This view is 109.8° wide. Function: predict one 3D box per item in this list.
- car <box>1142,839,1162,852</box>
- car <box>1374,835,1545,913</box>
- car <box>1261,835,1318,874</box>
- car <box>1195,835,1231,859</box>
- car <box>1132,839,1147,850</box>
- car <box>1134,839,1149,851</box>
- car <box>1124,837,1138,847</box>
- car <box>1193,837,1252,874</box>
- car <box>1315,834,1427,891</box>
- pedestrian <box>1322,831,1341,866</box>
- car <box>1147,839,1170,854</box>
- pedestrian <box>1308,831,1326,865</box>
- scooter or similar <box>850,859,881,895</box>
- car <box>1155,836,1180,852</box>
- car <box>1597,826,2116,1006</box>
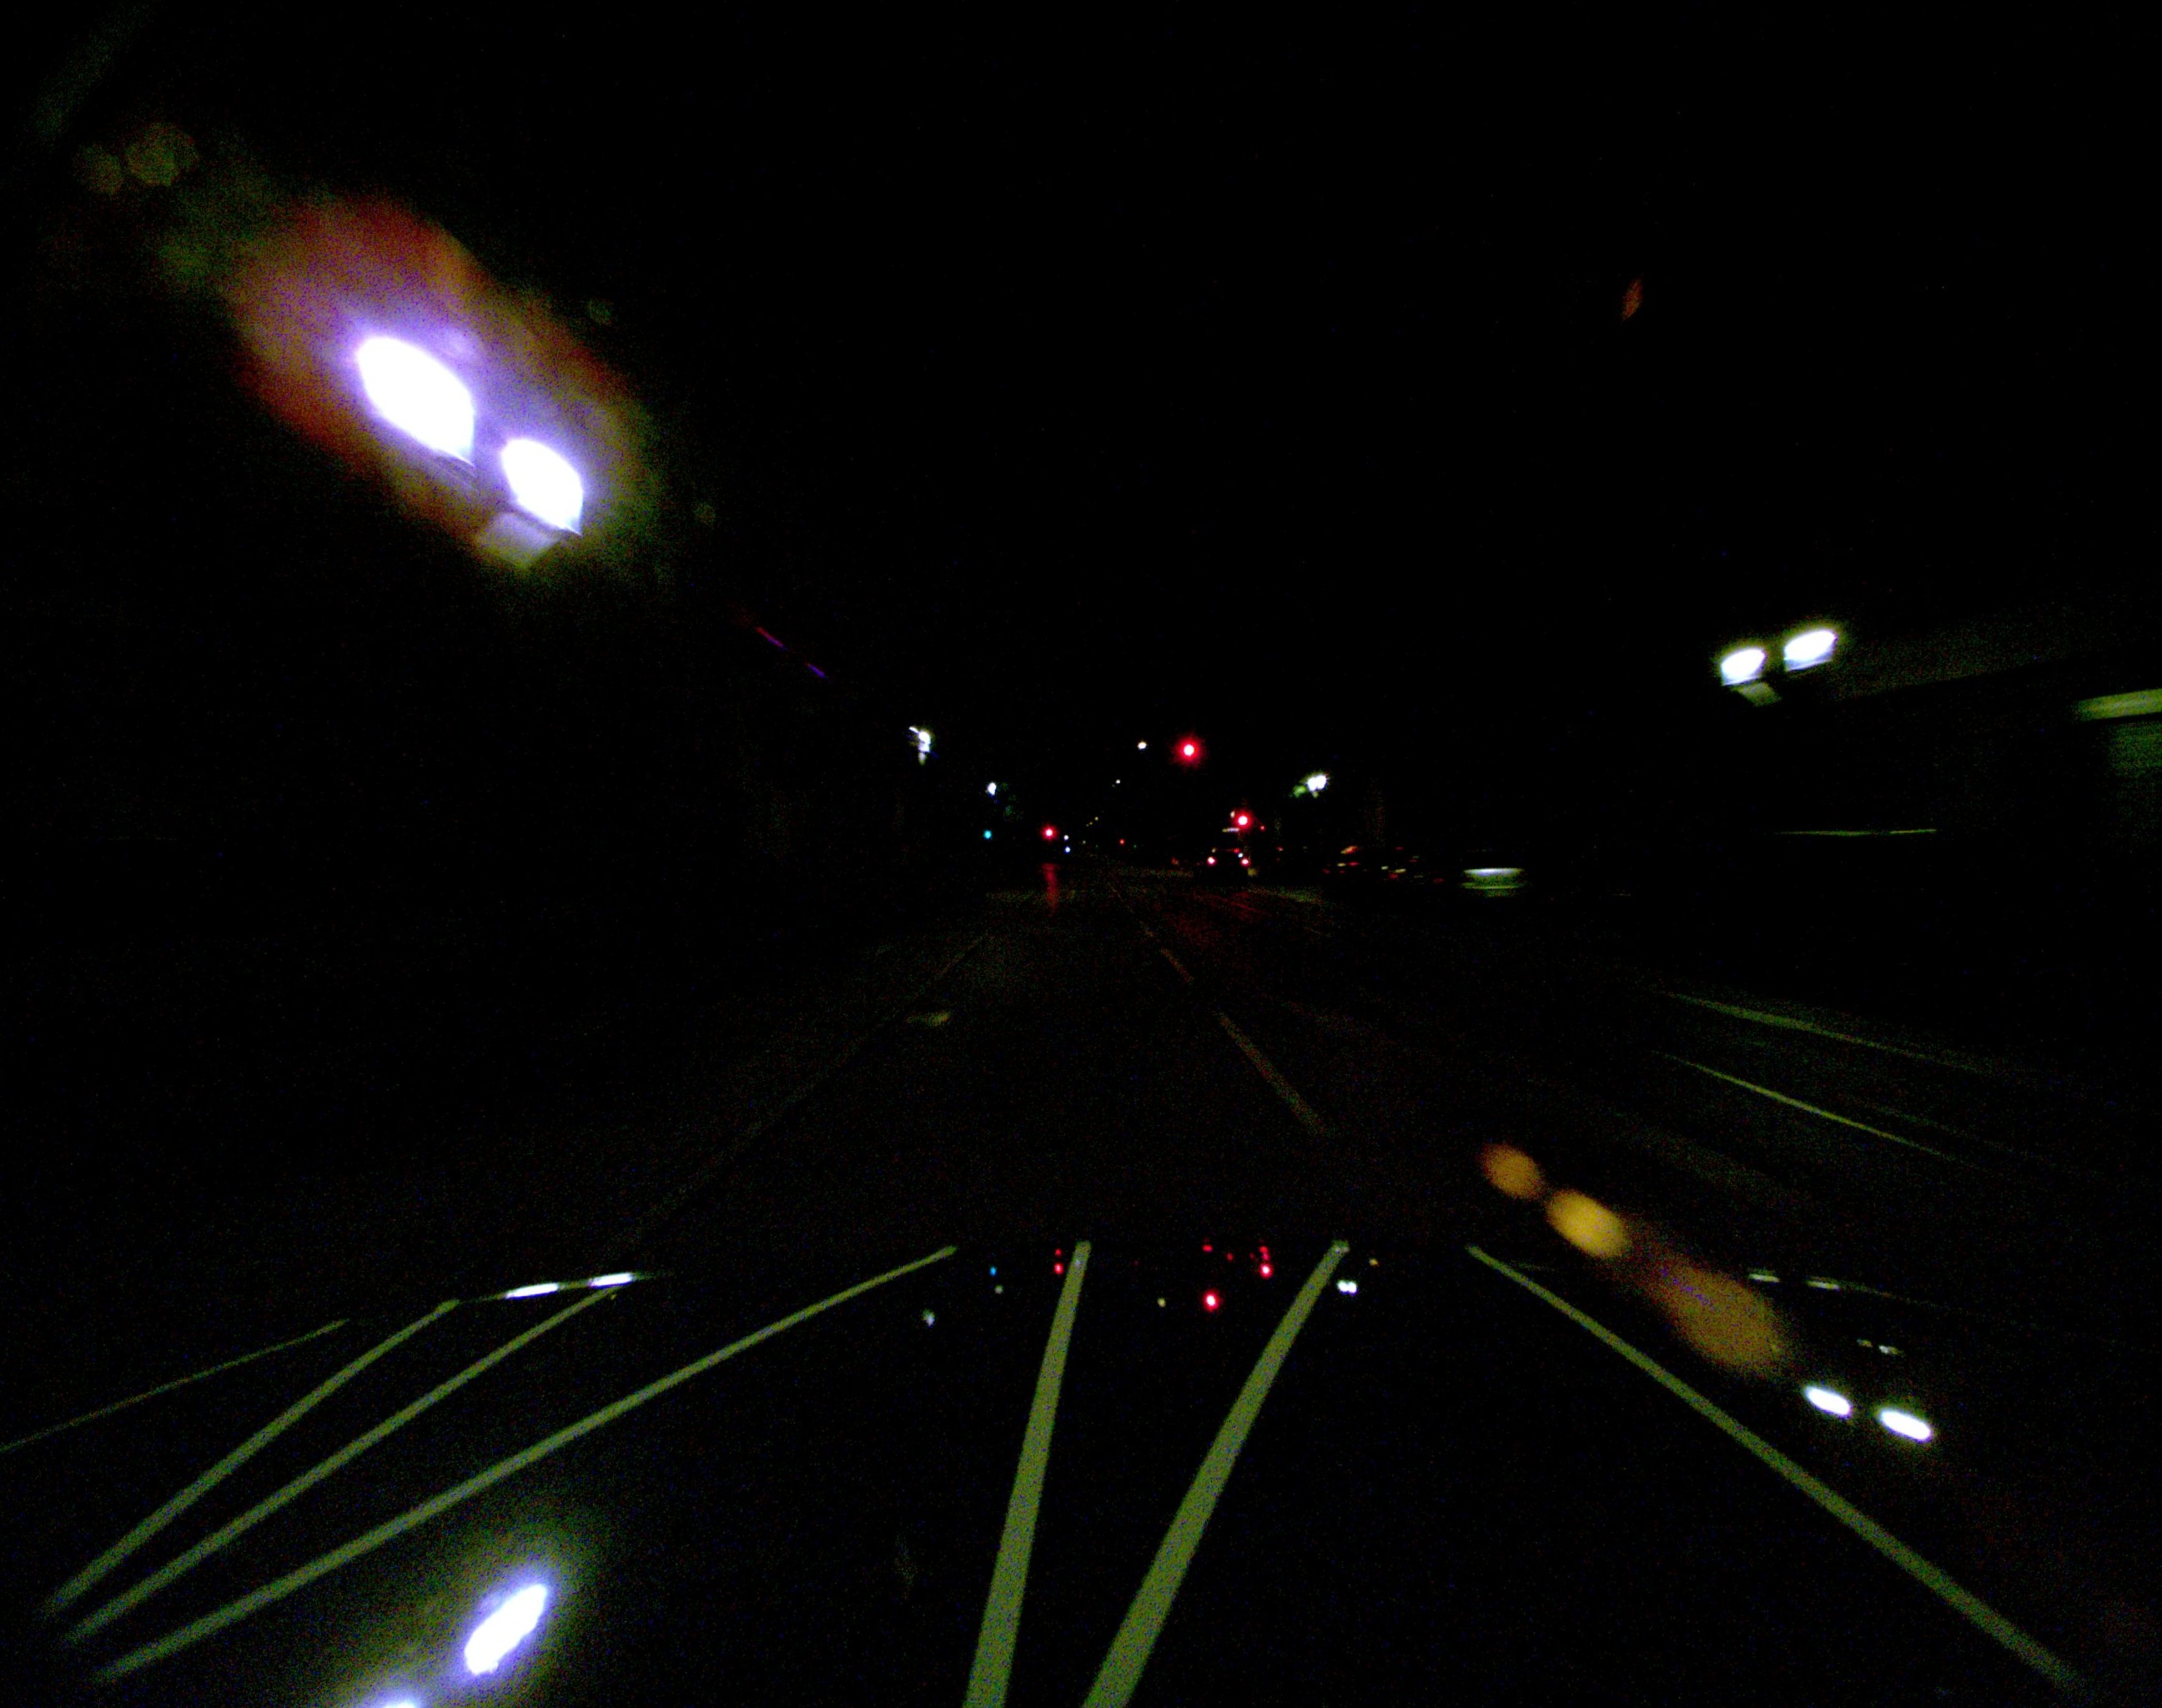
[{"bbox_3d":[8.535,-1.043,91.871,1.866,1.425,4.401,-1,1,-2],"label":"car"},{"bbox_3d":[8.400,0.372,17.293,1.789,1.483,3.999,-3,1,-1],"label":"car"},{"bbox_3d":[8.775,-0.026,32.250,1.596,1.483,3.700,-3,1,5],"label":"car"},{"bbox_3d":[9.253,-0.519,53.445,1.890,1.587,4.023,-2,1,2],"label":"car"},{"bbox_3d":[8.070,-1.361,105.093,1.642,1.425,4.348,-2,1,0],"label":"car"},{"bbox_3d":[8.012,-1.212,100.464,1.555,1.425,4.347,-2,1,0],"label":"car"},{"bbox_3d":[8.000,-1.921,121.930,1.633,1.456,3.512,1,1,-4],"label":"car"},{"bbox_3d":[5.821,0.036,31.698,1.719,1.421,3.999,1,1,1],"label":"car"},{"bbox_3d":[8.606,0.200,22.962,1.789,1.483,4.329,-3,1,2],"label":"car"},{"bbox_3d":[12.446,-0.284,37.772,0.710,1.681,0.998,1,2,10],"label":"pedestrian"},{"bbox_3d":[8.016,-0.815,78.834,1.865,1.471,4.471,-1,1,0],"label":"car"},{"bbox_3d":[11.740,-0.312,37.891,0.710,1.681,1.125,1,1,10],"label":"pedestrian"},{"bbox_3d":[-7.210,0.757,25.474,0.422,1.124,1.494,1,1,8],"label":"scooter or similar"},{"bbox_3d":[8.380,-0.986,73.845,1.865,1.425,4.442,-1,1,0],"label":"car"},{"bbox_3d":[8.578,0.530,9.139,1.789,1.573,4.411,-3,1,2],"label":"car"}]
